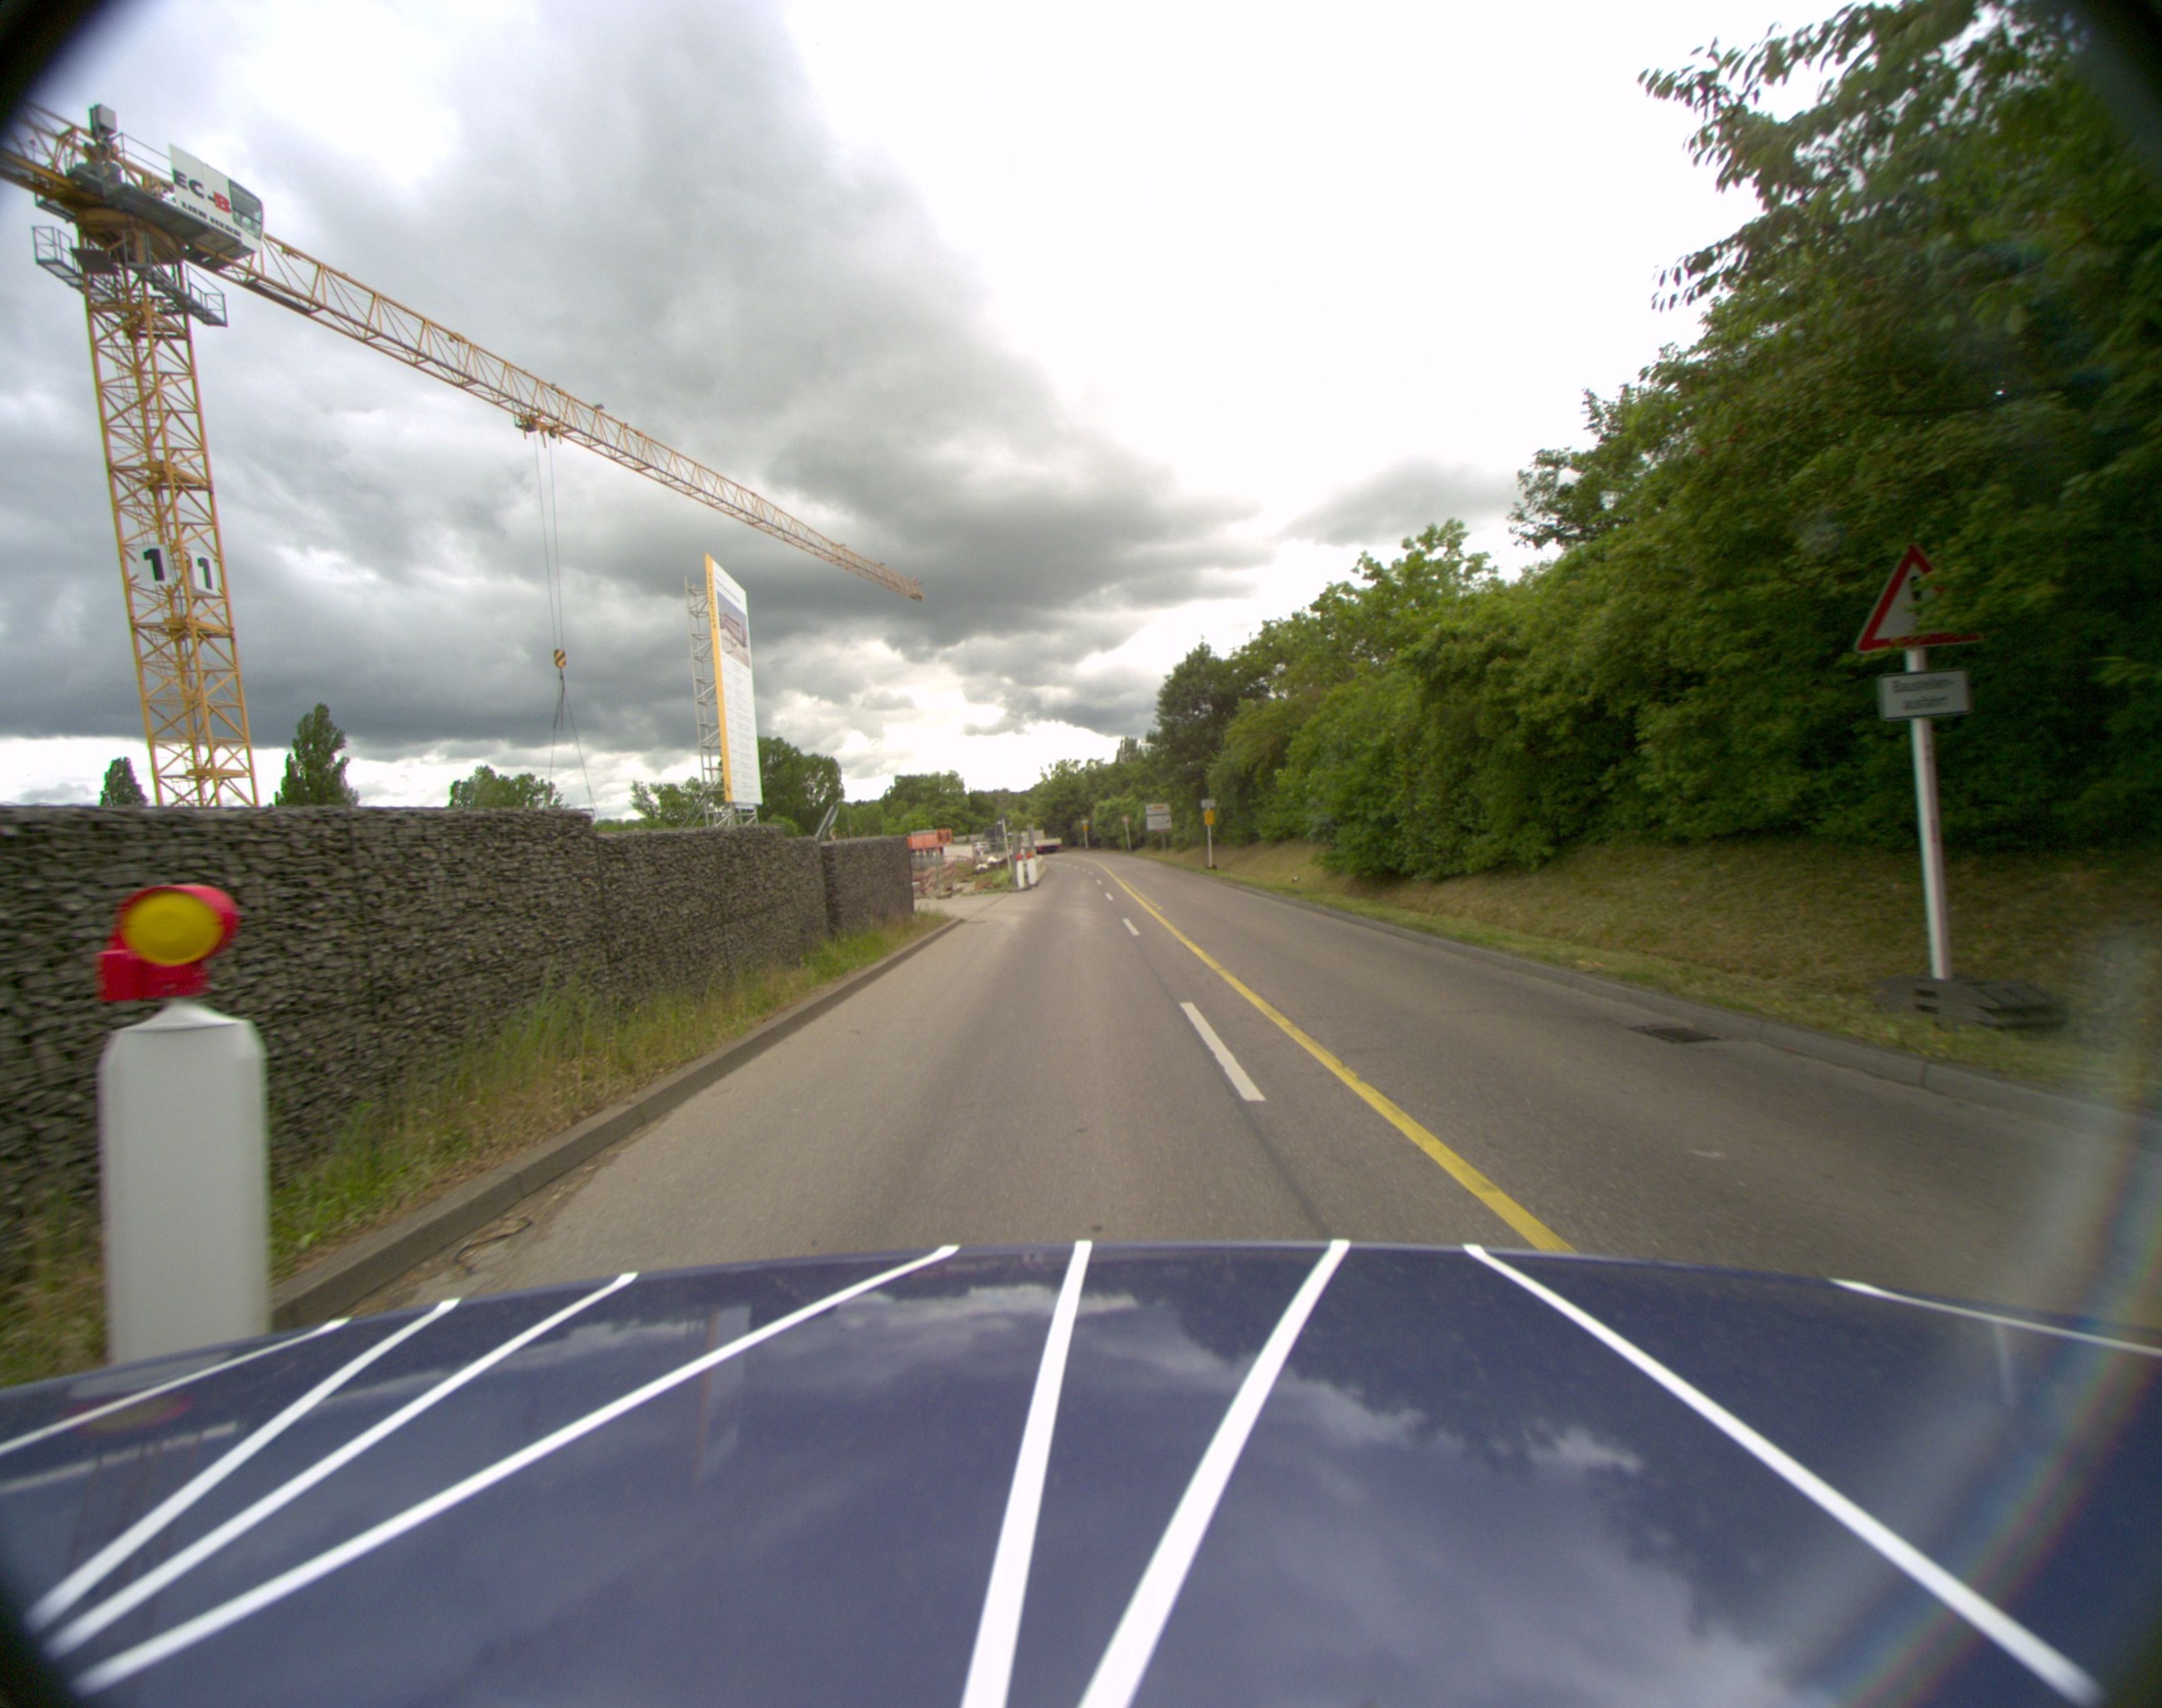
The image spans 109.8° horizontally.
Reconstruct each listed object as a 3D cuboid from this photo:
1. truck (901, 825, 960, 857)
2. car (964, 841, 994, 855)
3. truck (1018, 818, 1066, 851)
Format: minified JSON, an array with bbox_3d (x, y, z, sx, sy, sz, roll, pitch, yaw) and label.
[{"bbox_3d":[-21.671,-1.800,108.944,9.976,3.876,3.046,-3,4,45],"label":"truck"},{"bbox_3d":[-13.180,-0.791,98.347,1.897,1.554,4.090,-7,3,-39],"label":"car"},{"bbox_3d":[-4.397,-2.036,83.274,2.762,3.240,7.596,-6,3,-21],"label":"truck"}]
